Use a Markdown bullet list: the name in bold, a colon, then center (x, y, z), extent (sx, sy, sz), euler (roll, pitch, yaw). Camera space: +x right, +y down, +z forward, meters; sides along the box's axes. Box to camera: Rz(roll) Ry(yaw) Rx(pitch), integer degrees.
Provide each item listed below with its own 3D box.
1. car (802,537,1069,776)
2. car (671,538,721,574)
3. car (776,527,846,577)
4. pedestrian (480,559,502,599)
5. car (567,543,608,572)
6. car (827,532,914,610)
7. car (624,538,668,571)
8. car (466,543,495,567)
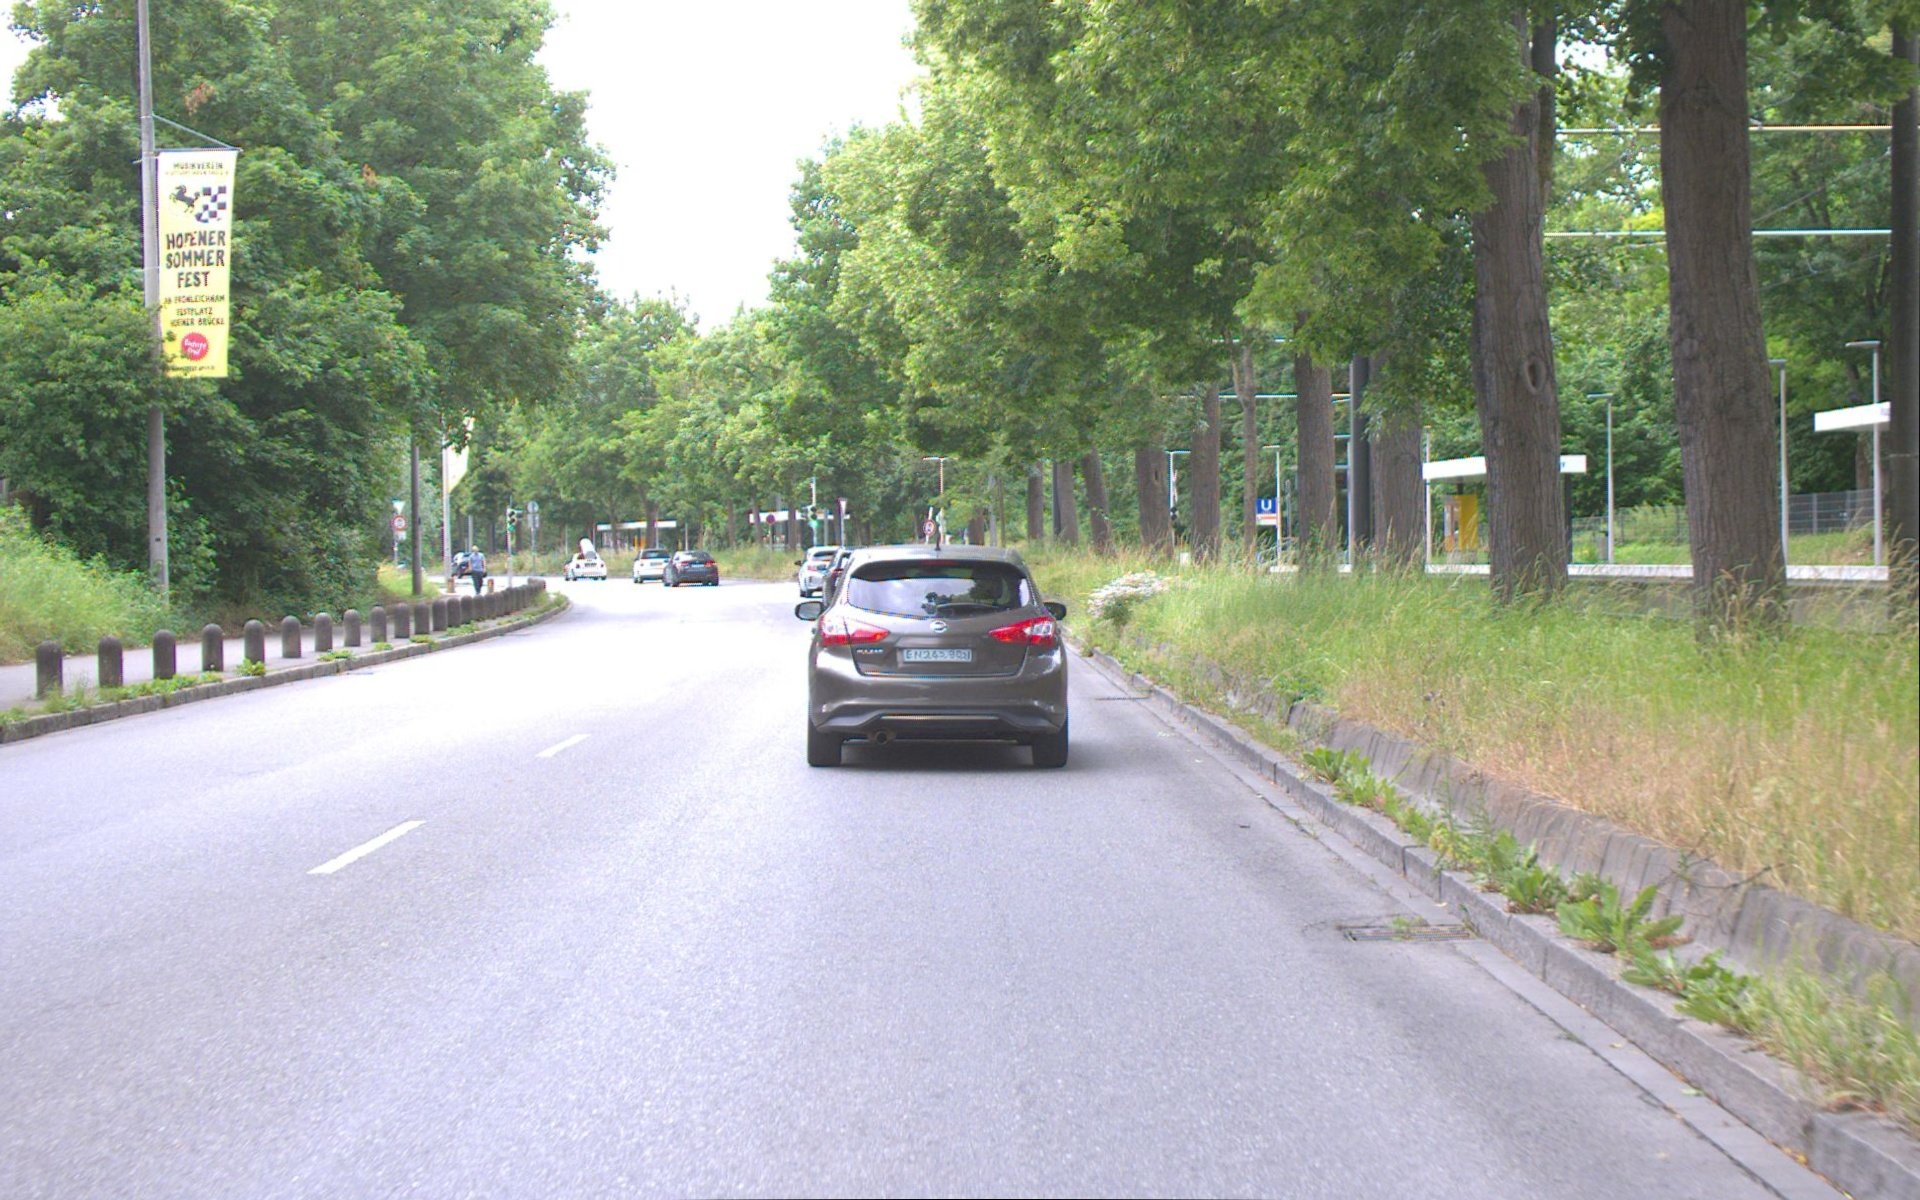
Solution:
- **car**: center (-0.200, 0.341, 24.254), extent (1.730, 1.532, 3.552), euler (1, 1, -1)
- **car**: center (-10.726, -1.790, 139.436), extent (1.561, 1.436, 3.553), euler (0, 1, -12)
- **car**: center (-4.379, -1.416, 100.787), extent (1.561, 1.436, 3.553), euler (0, 1, -11)
- **pedestrian**: center (-16.324, -0.739, 119.651), extent (0.720, 1.364, 0.654), euler (0, 1, -9)
- **car**: center (-19.226, -2.194, 177.168), extent (1.561, 1.436, 3.553), euler (0, 1, -15)
- **car**: center (-1.841, -0.622, 71.016), extent (1.730, 1.532, 3.552), euler (1, 1, -1)
- **car**: center (-14.135, -2.042, 154.442), extent (1.561, 1.436, 3.553), euler (0, 1, -12)
- **car**: center (-29.167, -2.733, 209.191), extent (1.561, 1.436, 3.553), euler (0, 1, -11)
